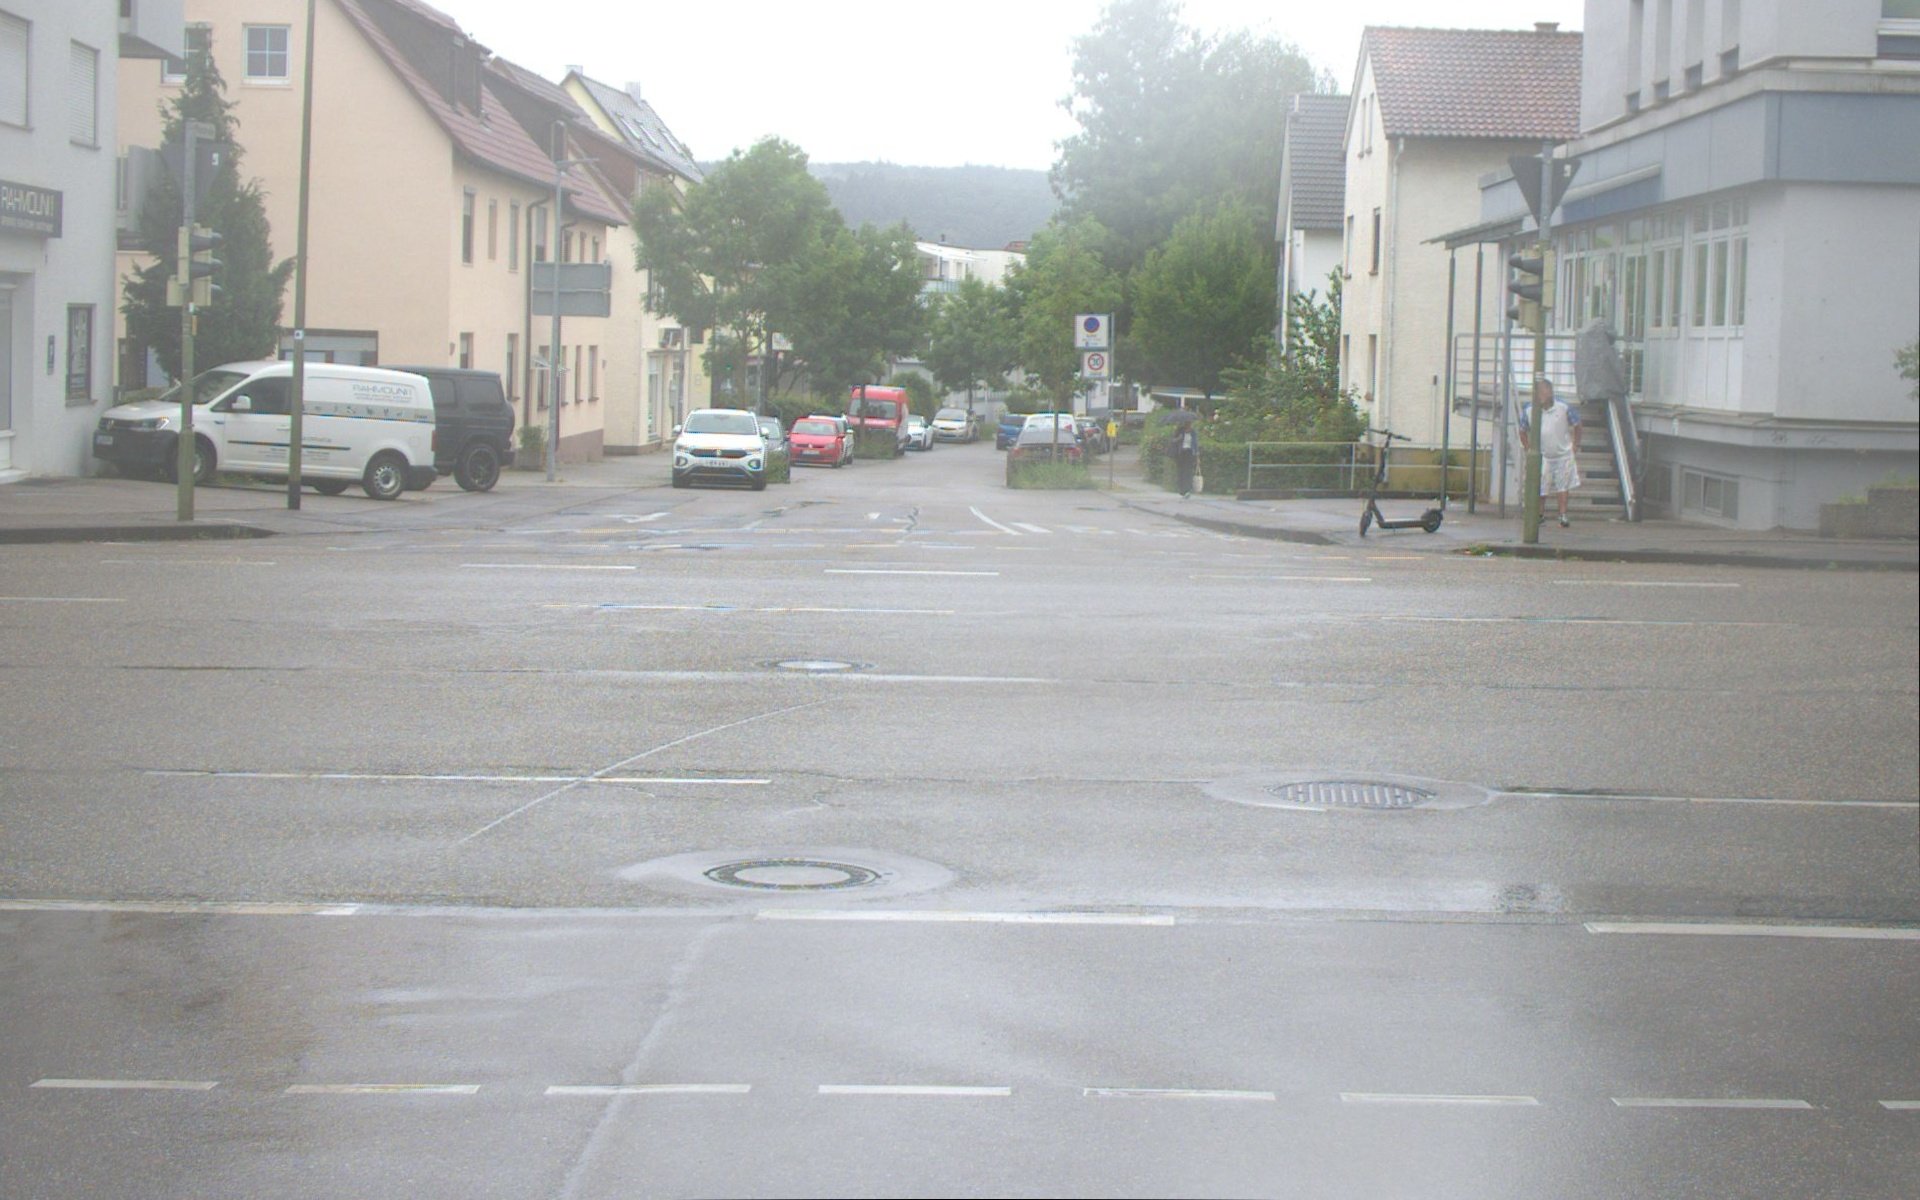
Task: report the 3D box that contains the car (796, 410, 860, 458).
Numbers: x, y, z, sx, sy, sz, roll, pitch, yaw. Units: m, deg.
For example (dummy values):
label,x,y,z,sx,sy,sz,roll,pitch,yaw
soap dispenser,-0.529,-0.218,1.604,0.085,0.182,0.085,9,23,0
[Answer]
label,x,y,z,sx,sy,sz,roll,pitch,yaw
car,-4.314,-5.438,112.735,1.901,1.553,4.192,0,3,0

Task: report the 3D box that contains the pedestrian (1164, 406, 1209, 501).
label,x,y,z,sx,sy,sz,roll,pitch,yaw
pedestrian,4.573,-2.953,69.345,0.745,1.842,0.526,4,2,0

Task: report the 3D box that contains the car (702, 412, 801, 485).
label,x,y,z,sx,sy,sz,roll,pitch,yaw
car,-4.780,-3.502,79.309,1.993,1.620,4.192,0,3,0

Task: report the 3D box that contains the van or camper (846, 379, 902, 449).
label,x,y,z,sx,sy,sz,roll,pitch,yaw
van or camper,-3.142,-6.843,126.652,1.901,2.504,4.239,0,3,0

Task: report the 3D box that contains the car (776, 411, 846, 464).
label,x,y,z,sx,sy,sz,roll,pitch,yaw
car,-4.499,-4.923,104.337,1.901,1.553,4.192,0,3,0

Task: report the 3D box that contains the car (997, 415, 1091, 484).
label,x,y,z,sx,sy,sz,roll,pitch,yaw
car,1.958,-3.565,81.371,2.146,1.583,4.128,0,3,0

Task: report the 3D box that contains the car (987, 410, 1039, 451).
label,x,y,z,sx,sy,sz,roll,pitch,yaw
car,2.229,-7.068,143.079,1.994,1.678,4.000,1,3,3

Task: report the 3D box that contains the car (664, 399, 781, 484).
label,x,y,z,sx,sy,sz,roll,pitch,yaw
car,-4.663,-3.131,67.909,1.993,1.620,4.192,0,3,0

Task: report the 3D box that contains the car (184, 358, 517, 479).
label,x,y,z,sx,sy,sz,roll,pitch,yaw
car,-9.634,-2.858,54.540,4.830,1.829,2.000,-2,3,-38

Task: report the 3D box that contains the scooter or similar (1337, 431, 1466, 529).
label,x,y,z,sx,sy,sz,roll,pitch,yaw
scooter or similar,4.946,-1.350,38.574,1.268,1.077,0.877,0,3,-4

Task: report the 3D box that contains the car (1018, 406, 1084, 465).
label,x,y,z,sx,sy,sz,roll,pitch,yaw
car,2.732,-4.949,103.592,1.901,1.739,4.192,0,3,0

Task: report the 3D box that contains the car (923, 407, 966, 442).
label,x,y,z,sx,sy,sz,roll,pitch,yaw
car,-0.680,-7.866,154.507,1.901,1.553,4.192,0,3,0

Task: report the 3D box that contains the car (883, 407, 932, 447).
label,x,y,z,sx,sy,sz,roll,pitch,yaw
car,-2.099,-6.965,138.529,1.901,1.553,4.192,0,3,0

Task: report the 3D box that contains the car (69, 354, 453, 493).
label,x,y,z,sx,sy,sz,roll,pitch,yaw
car,-9.634,-2.422,47.579,4.830,1.829,2.000,-2,3,-38

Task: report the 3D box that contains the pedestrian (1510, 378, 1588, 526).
label,x,y,z,sx,sy,sz,roll,pitch,yaw
pedestrian,6.751,-1.698,39.434,0.647,1.641,0.526,4,2,-6
